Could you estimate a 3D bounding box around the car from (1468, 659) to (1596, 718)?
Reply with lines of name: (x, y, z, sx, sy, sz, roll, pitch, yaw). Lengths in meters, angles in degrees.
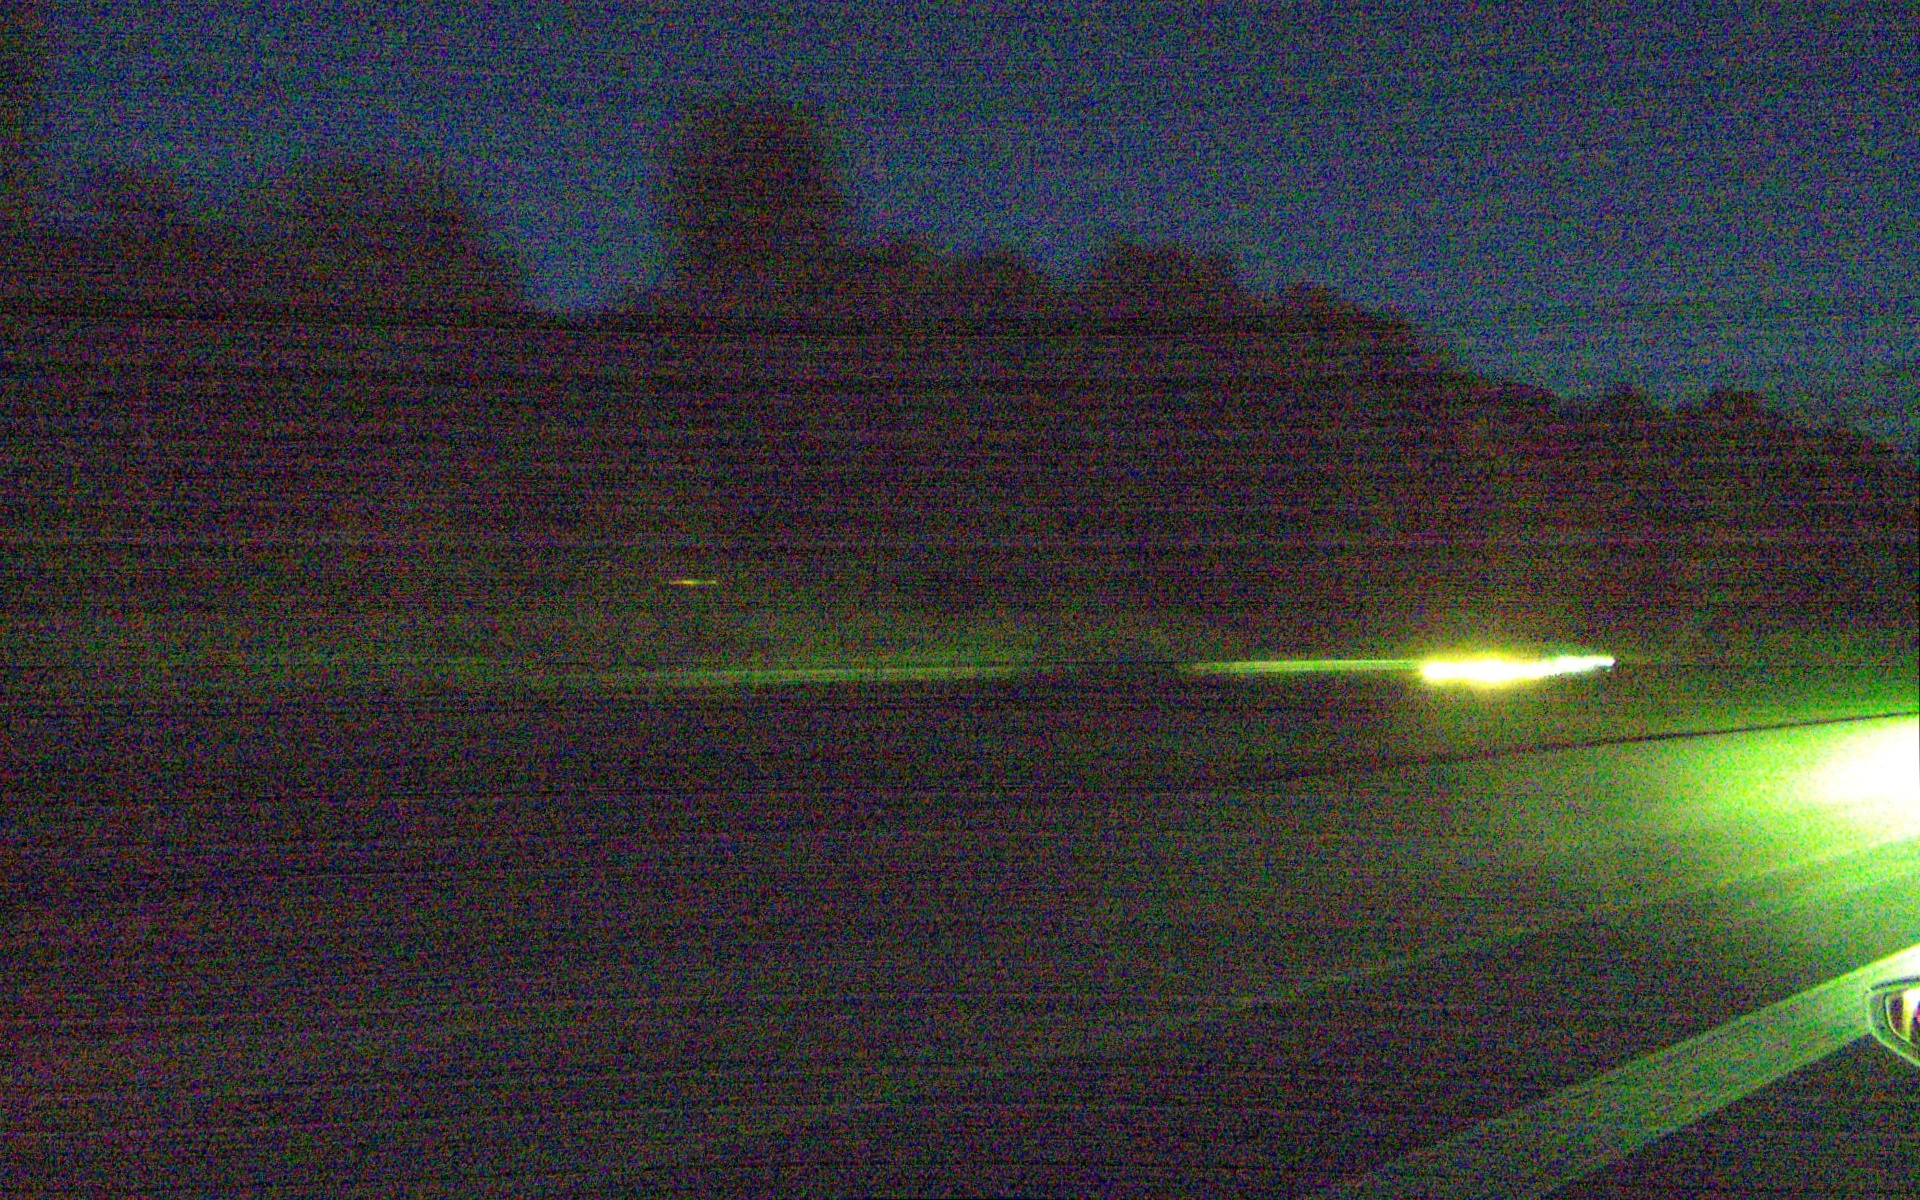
car: (15.532, 2.358, 27.244, 3.587, 1.350, 1.418, 1, 0, -31)
